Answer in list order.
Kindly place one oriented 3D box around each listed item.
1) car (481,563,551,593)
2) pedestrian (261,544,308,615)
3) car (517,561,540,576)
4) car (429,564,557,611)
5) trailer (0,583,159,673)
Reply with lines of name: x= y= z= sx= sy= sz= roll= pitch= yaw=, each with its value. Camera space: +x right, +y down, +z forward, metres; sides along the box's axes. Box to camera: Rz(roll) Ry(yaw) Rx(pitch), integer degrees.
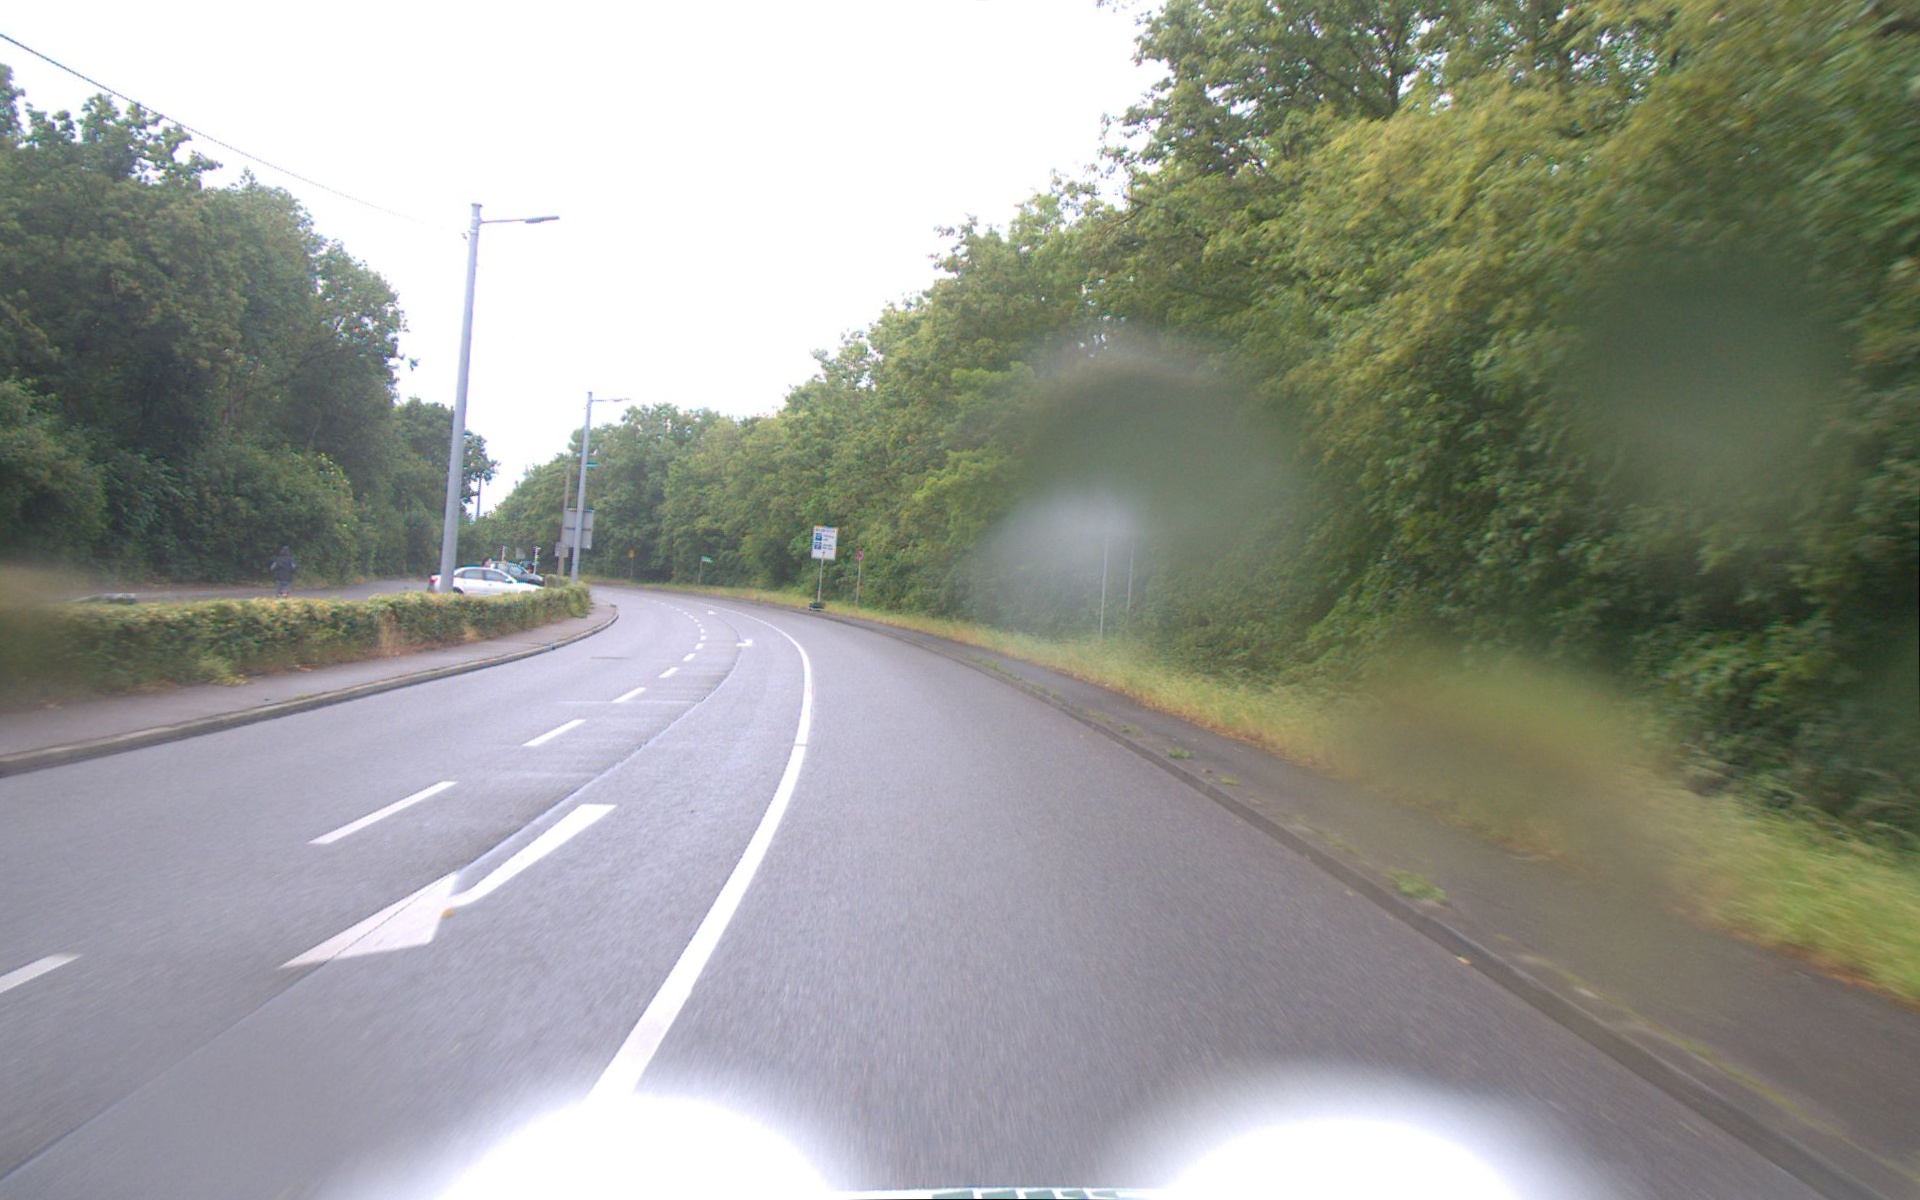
car: x=-28.695 y=-1.410 z=106.982 sx=4.218 sy=1.738 sz=1.993 roll=3 pitch=0 yaw=-14
pedestrian: x=-18.131 y=-0.548 z=44.410 sx=0.801 sy=1.829 sz=1.134 roll=2 pitch=0 yaw=-7
car: x=-46.953 y=-3.386 z=179.939 sx=1.908 sy=1.524 sz=4.290 roll=2 pitch=1 yaw=-22
car: x=-17.521 y=-0.485 z=62.162 sx=4.502 sy=1.532 sz=1.991 roll=3 pitch=0 yaw=-17
trailer: x=-11.405 y=0.342 z=21.104 sx=1.767 sy=1.052 sz=1.331 roll=2 pitch=0 yaw=-8
